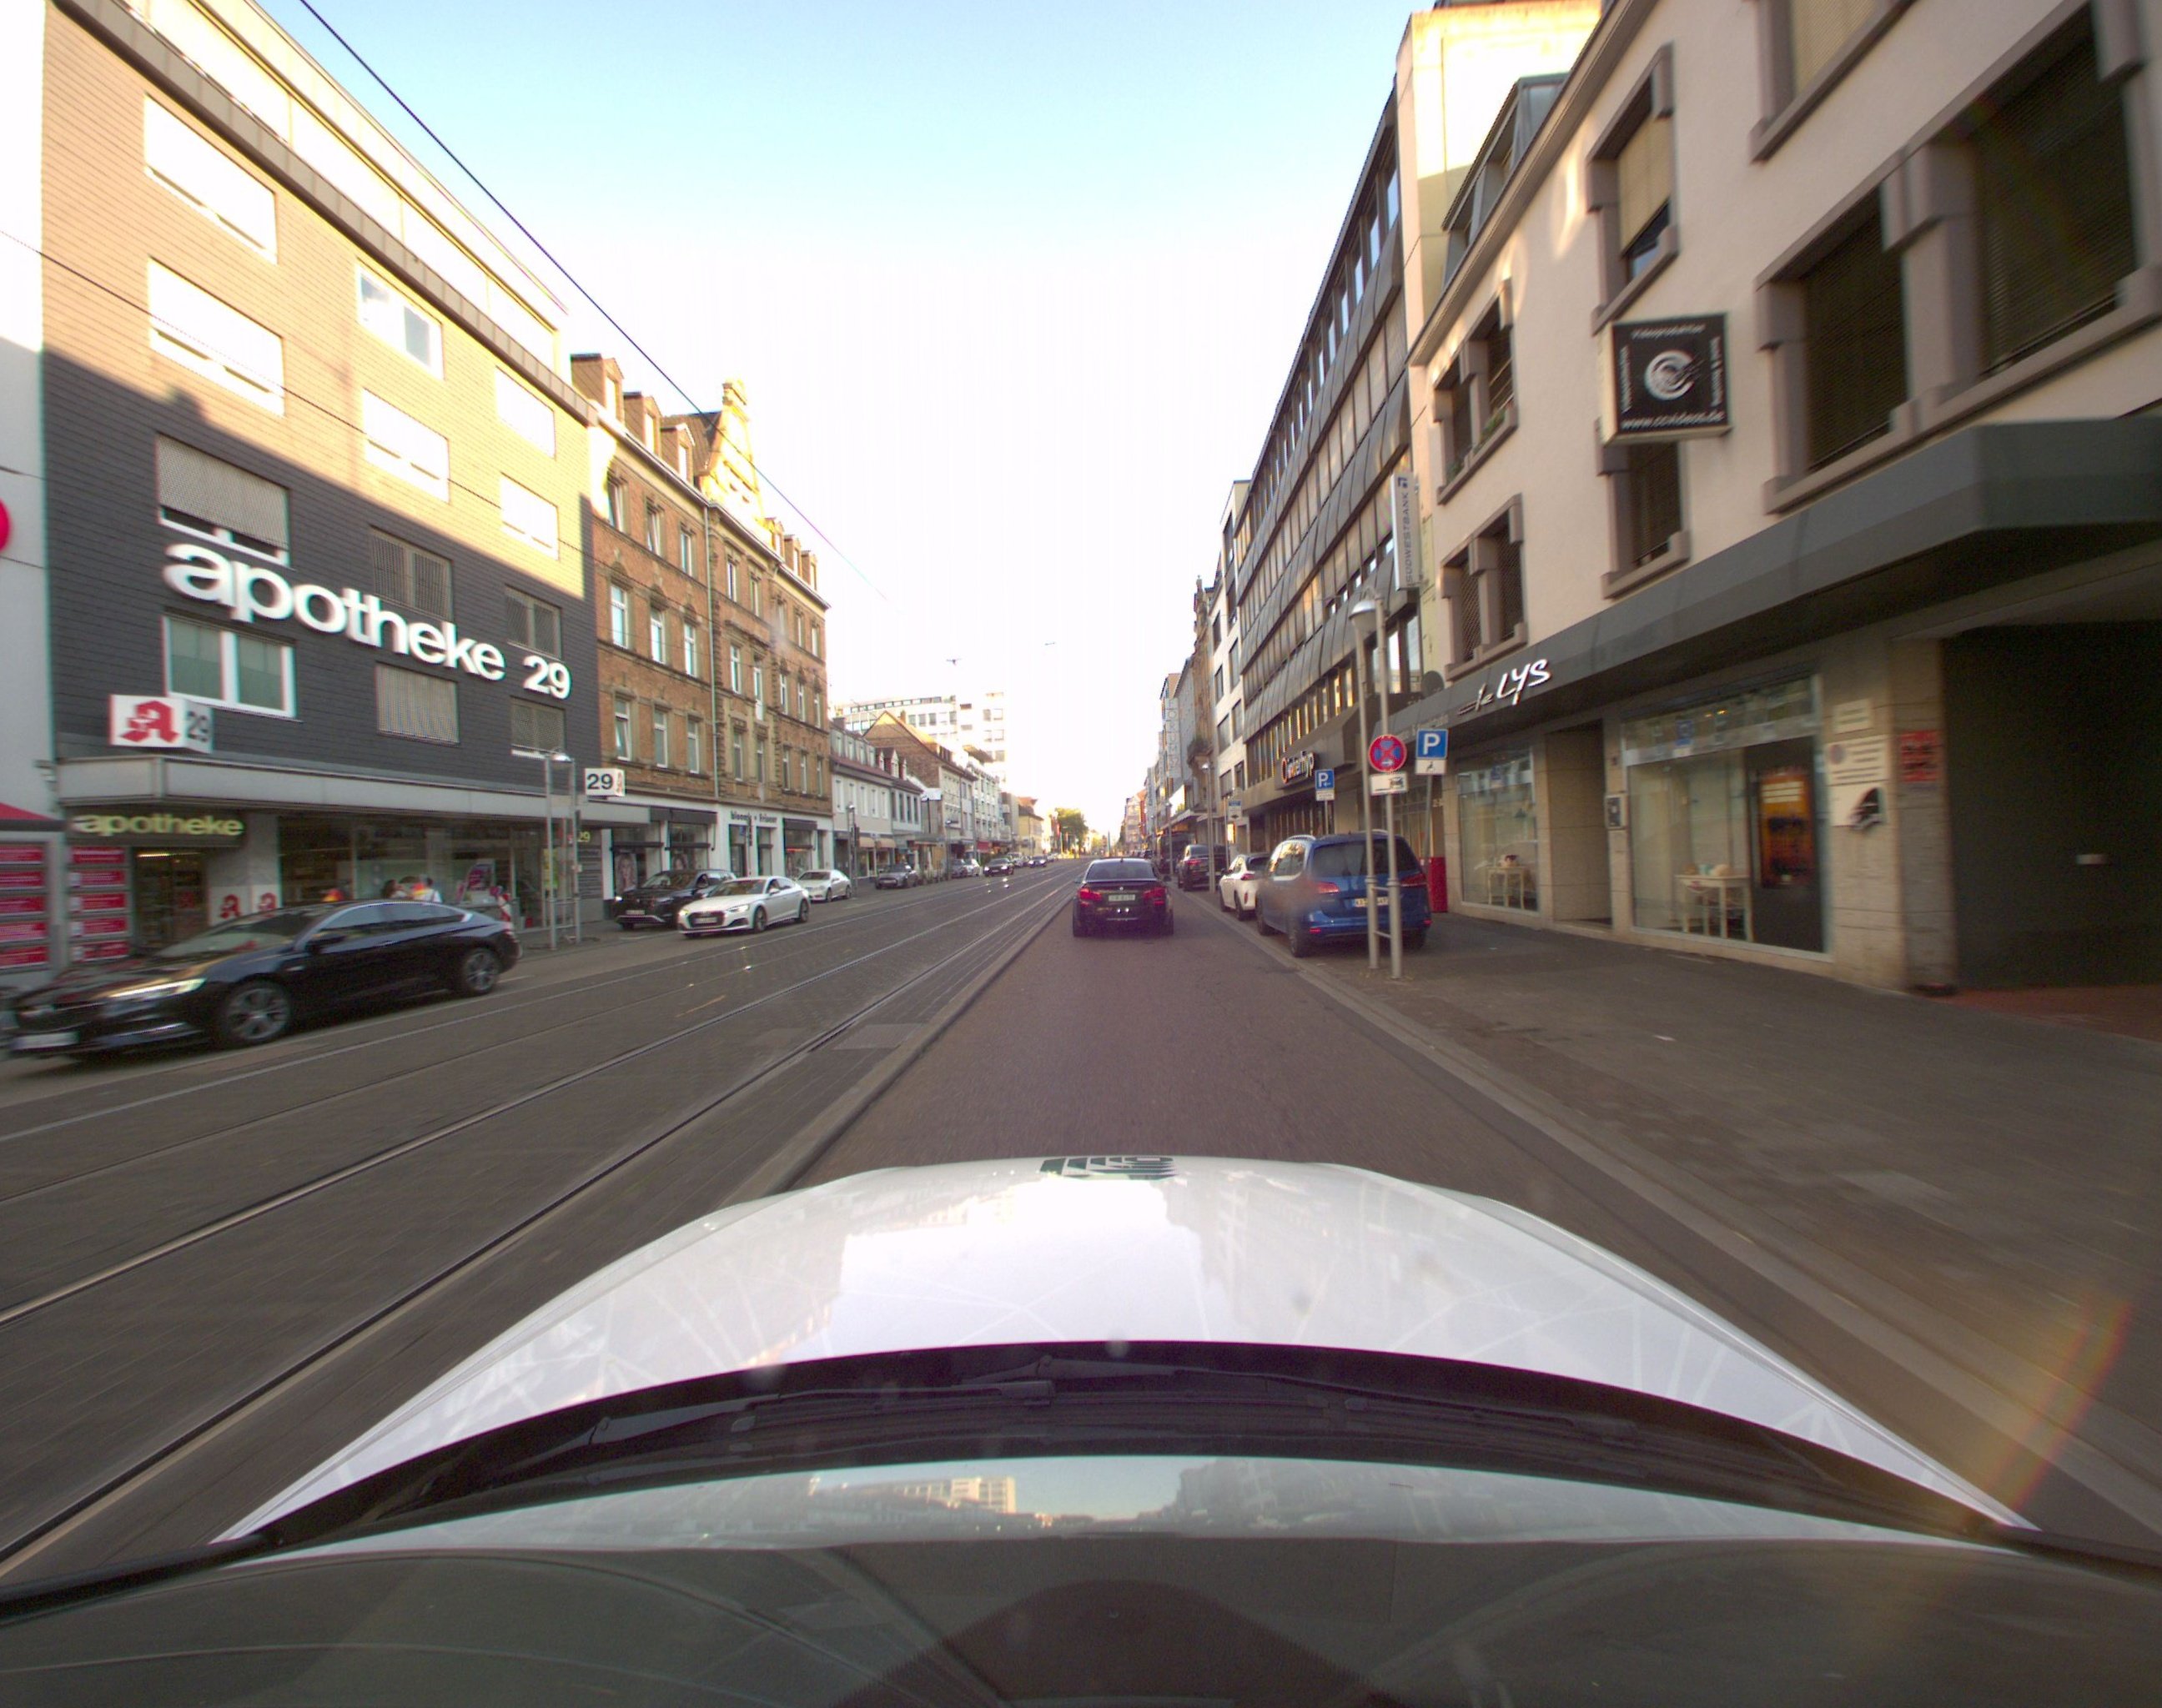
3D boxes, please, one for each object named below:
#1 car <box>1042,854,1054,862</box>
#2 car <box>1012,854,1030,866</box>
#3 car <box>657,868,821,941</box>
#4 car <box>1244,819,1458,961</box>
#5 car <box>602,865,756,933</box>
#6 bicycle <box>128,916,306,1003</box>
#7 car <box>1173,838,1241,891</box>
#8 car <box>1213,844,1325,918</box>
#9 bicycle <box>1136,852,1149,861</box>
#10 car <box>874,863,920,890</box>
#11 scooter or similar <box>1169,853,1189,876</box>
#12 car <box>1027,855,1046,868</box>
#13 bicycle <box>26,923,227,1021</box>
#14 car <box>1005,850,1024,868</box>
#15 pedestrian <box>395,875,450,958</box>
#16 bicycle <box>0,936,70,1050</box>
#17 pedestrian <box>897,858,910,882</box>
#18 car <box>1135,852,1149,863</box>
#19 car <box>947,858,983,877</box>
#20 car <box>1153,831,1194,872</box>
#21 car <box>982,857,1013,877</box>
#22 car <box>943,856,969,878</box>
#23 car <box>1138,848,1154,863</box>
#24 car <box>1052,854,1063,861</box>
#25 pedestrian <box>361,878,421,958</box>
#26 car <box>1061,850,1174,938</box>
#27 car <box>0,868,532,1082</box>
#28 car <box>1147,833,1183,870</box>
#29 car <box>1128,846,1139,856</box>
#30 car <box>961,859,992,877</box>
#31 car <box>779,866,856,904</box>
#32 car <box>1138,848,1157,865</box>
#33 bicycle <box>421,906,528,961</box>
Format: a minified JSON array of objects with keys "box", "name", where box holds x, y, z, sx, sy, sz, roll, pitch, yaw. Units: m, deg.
[{"box":[-6.147,0.797,152.070,1.921,1.435,4.249,-1,0,3],"name":"car"},{"box":[-8.043,0.810,109.668,1.921,1.435,4.249,-1,0,3],"name":"car"},{"box":[-8.653,1.204,21.146,1.985,1.453,4.659,-4,0,3],"name":"car"},{"box":[4.022,0.469,13.051,1.985,1.727,4.579,-4,0,3],"name":"car"},{"box":[-11.679,1.229,24.105,1.921,1.674,4.652,-1,0,5],"name":"car"},{"box":[-12.867,1.562,12.148,2.103,1.224,0.553,0,0,2],"name":"bicycle"},{"box":[4.701,0.361,31.007,1.985,1.727,4.568,-4,0,3],"name":"car"},{"box":[4.258,0.543,19.027,1.788,1.433,3.890,-4,0,3],"name":"car"},{"box":[8.931,0.374,117.793,1.853,1.119,0.469,-2,-1,3],"name":"bicycle"},{"box":[-10.800,1.284,47.986,1.591,1.440,3.816,-1,0,3],"name":"car"},{"box":[5.618,0.585,46.569,0.493,1.220,1.273,-3,0,39],"name":"scooter or similar"},{"box":[-5.253,0.847,97.395,1.684,1.453,4.470,-3,0,4],"name":"car"},{"box":[-12.795,1.572,10.946,2.103,1.224,0.553,0,0,2],"name":"bicycle"},{"box":[-8.380,0.581,103.092,1.988,2.156,4.909,-3,0,-1],"name":"car"},{"box":[-14.097,1.324,17.447,0.618,1.699,0.603,-2,0,2],"name":"pedestrian"},{"box":[-12.912,1.583,9.379,1.883,1.211,0.553,0,0,2],"name":"bicycle"},{"box":[-12.624,1.147,57.938,0.660,1.644,0.695,-2,0,3],"name":"pedestrian"},{"box":[9.037,0.489,121.304,1.895,1.549,4.002,-2,-1,2],"name":"car"},{"box":[-9.732,1.095,68.497,1.985,1.453,4.826,-3,0,4],"name":"car"},{"box":[6.077,-0.169,54.237,2.084,2.455,6.035,-4,0,2],"name":"car"},{"box":[-6.771,1.061,66.463,1.987,1.453,4.648,-3,0,0],"name":"car"},{"box":[-9.769,1.011,63.809,1.471,1.577,2.797,-3,0,3],"name":"car"},{"box":[7.023,0.151,88.184,1.553,1.442,3.711,-5,0,2],"name":"car"},{"box":[-5.052,0.839,175.241,1.921,1.435,4.249,-1,0,3],"name":"car"},{"box":[-14.837,1.363,17.526,0.680,1.660,0.625,-2,0,2],"name":"pedestrian"},{"box":[0.793,0.737,16.522,1.945,1.498,4.469,-1,-1,4],"name":"car"},{"box":[-9.263,1.146,9.634,1.985,1.727,4.732,-4,0,4],"name":"car"},{"box":[6.197,-0.173,60.659,2.026,2.455,5.410,-4,0,1],"name":"car"},{"box":[9.240,-0.537,142.818,1.767,1.549,3.505,-2,-1,2],"name":"car"},{"box":[-9.389,1.255,73.446,1.985,1.453,4.334,-3,0,4],"name":"car"},{"box":[-11.468,1.296,35.750,1.863,1.453,4.609,1,0,0],"name":"car"},{"box":[6.702,0.260,82.698,1.648,1.537,3.888,-4,0,2],"name":"car"},{"box":[-12.376,1.617,16.638,1.824,1.047,0.489,0,1,2],"name":"bicycle"}]
